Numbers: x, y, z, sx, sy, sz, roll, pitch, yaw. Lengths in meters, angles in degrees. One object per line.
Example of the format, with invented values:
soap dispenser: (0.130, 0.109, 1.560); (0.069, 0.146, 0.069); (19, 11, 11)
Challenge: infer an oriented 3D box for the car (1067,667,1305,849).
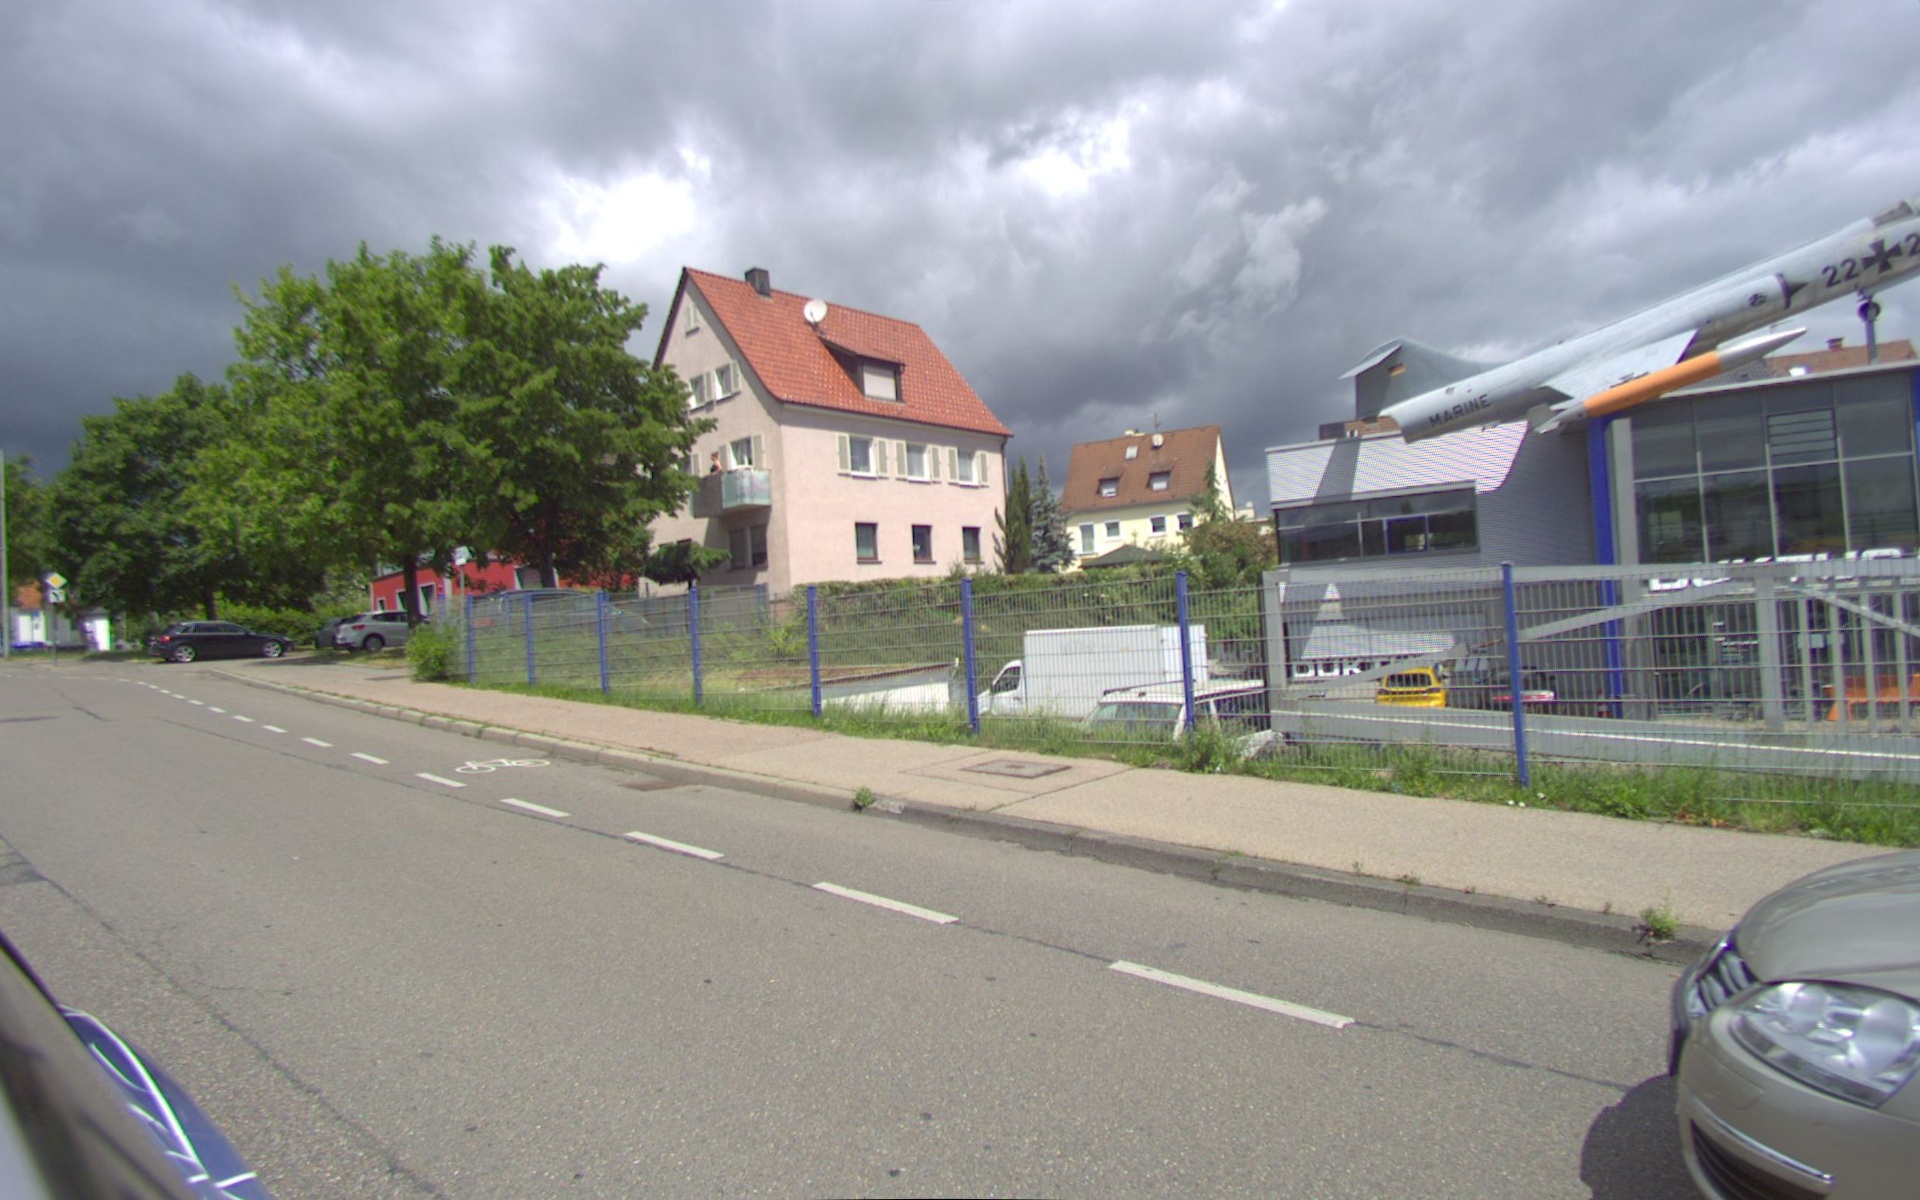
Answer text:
car: (3.481, 2.171, 15.101); (1.850, 2.029, 3.947); (-1, 0, 40)

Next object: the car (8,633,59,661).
car: (-71.675, 3.597, 78.366); (1.928, 1.984, 5.146); (-1, 0, -31)

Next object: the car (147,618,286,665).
car: (-26.706, 1.446, 36.419); (1.586, 1.517, 3.804); (-1, 0, 44)

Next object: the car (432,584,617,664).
car: (-10.505, 0.529, 24.665); (1.521, 1.789, 3.908); (-1, 0, 37)

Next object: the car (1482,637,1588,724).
car: (14.788, 2.021, 26.258); (1.848, 1.790, 4.583); (-5, -2, 25)

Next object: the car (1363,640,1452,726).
car: (12.200, 2.194, 27.567); (1.915, 1.712, 4.584); (-5, 0, 25)

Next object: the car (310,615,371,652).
car: (-27.403, 1.453, 44.694); (1.562, 1.517, 3.863); (-1, 0, -43)

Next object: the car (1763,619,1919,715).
car: (20.562, 1.475, 23.476); (1.848, 1.790, 4.583); (-5, -2, 25)

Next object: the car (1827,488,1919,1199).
car: (3.611, 0.559, 0.930); (4.219, 1.544, 1.626); (-1, 0, 40)

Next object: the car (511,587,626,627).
car: (-15.540, 0.270, 40.321); (1.586, 1.517, 3.963); (-1, 0, 44)

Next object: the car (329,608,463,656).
car: (-19.713, 1.082, 35.481); (1.585, 1.517, 3.807); (-1, 0, 41)

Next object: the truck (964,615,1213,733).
truck: (3.279, 1.809, 27.241); (6.595, 2.753, 2.290); (-1, 0, 44)
